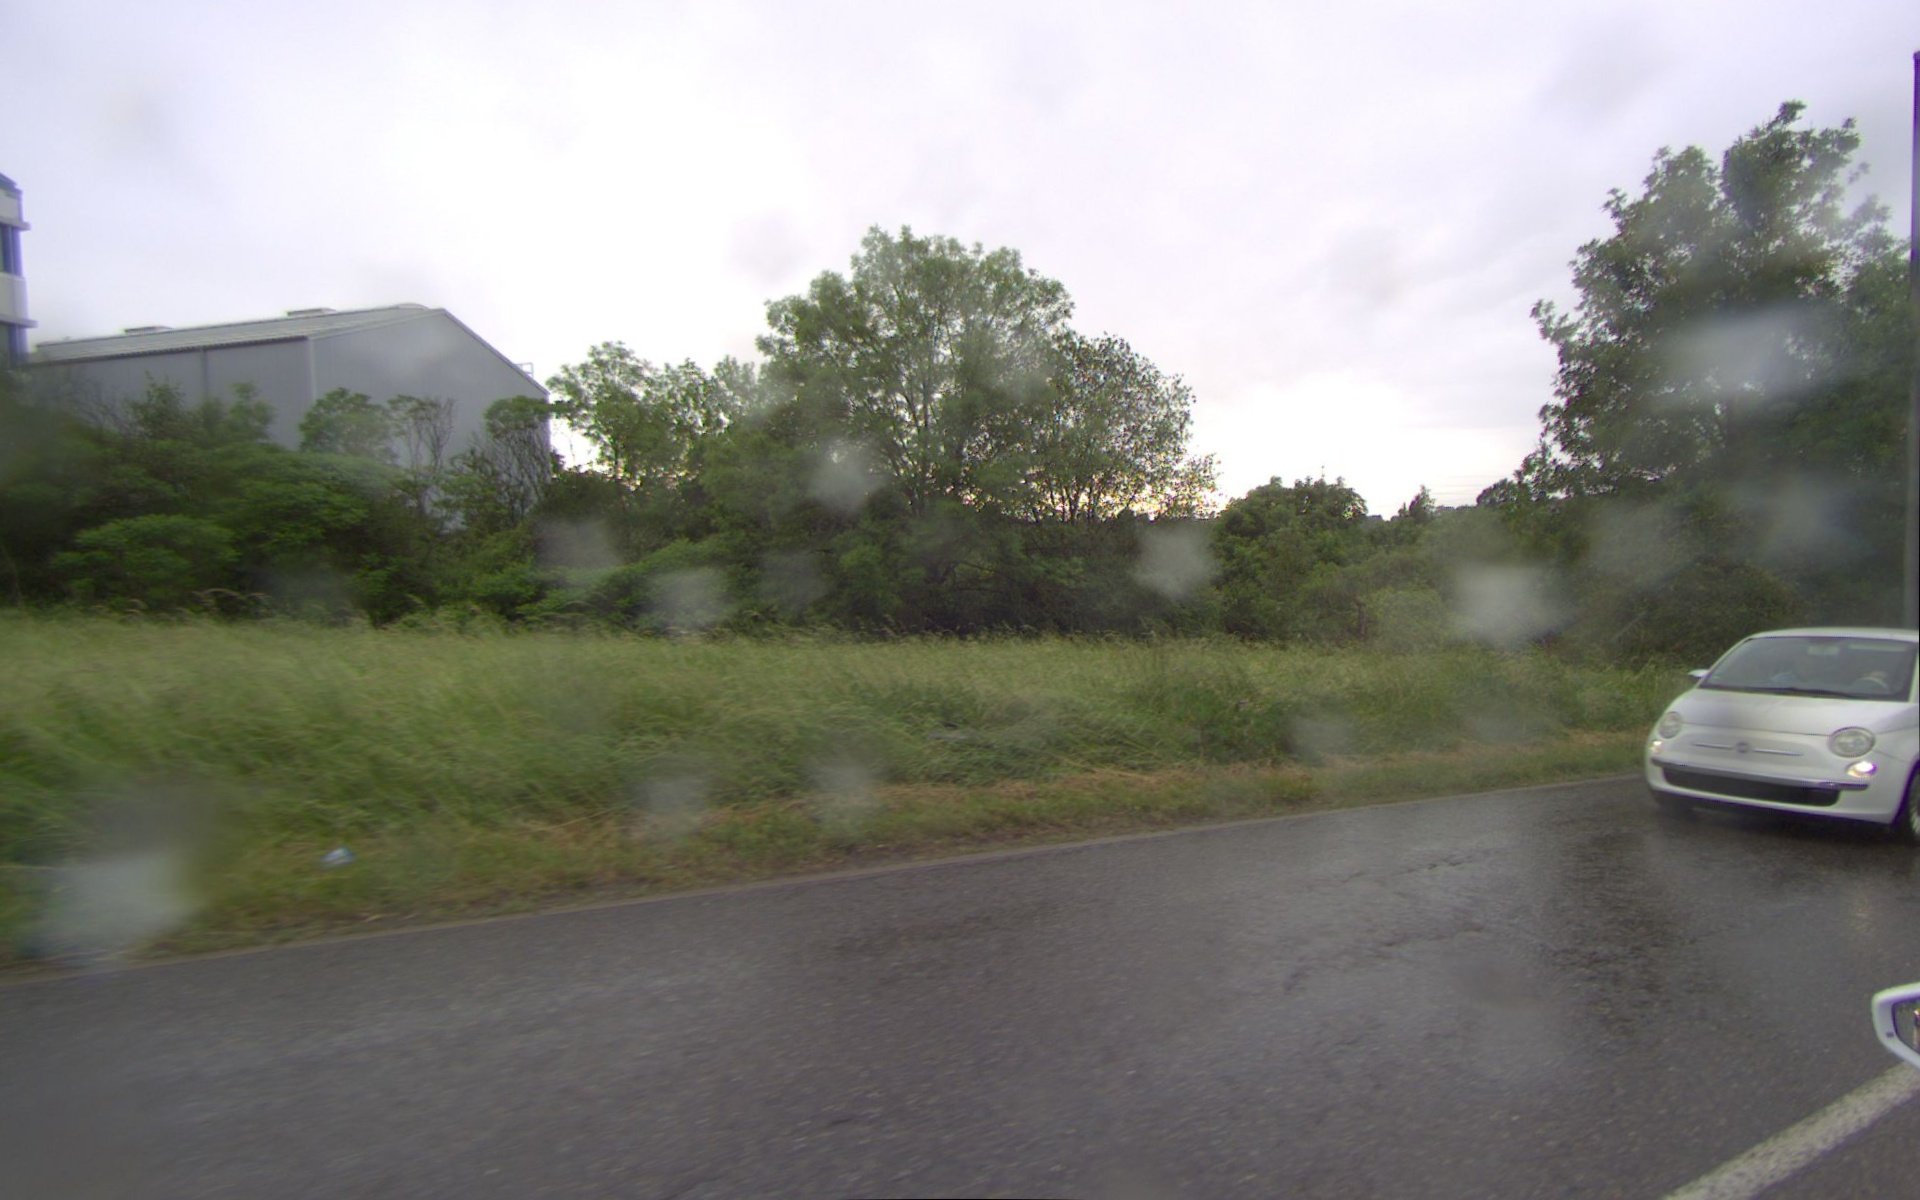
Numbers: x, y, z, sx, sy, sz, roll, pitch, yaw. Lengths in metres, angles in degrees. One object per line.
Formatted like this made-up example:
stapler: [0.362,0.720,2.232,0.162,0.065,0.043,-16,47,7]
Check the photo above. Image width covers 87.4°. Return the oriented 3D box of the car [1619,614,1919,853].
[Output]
car: [6.972,0.894,7.965,3.415,1.508,1.631,1,-1,-31]
